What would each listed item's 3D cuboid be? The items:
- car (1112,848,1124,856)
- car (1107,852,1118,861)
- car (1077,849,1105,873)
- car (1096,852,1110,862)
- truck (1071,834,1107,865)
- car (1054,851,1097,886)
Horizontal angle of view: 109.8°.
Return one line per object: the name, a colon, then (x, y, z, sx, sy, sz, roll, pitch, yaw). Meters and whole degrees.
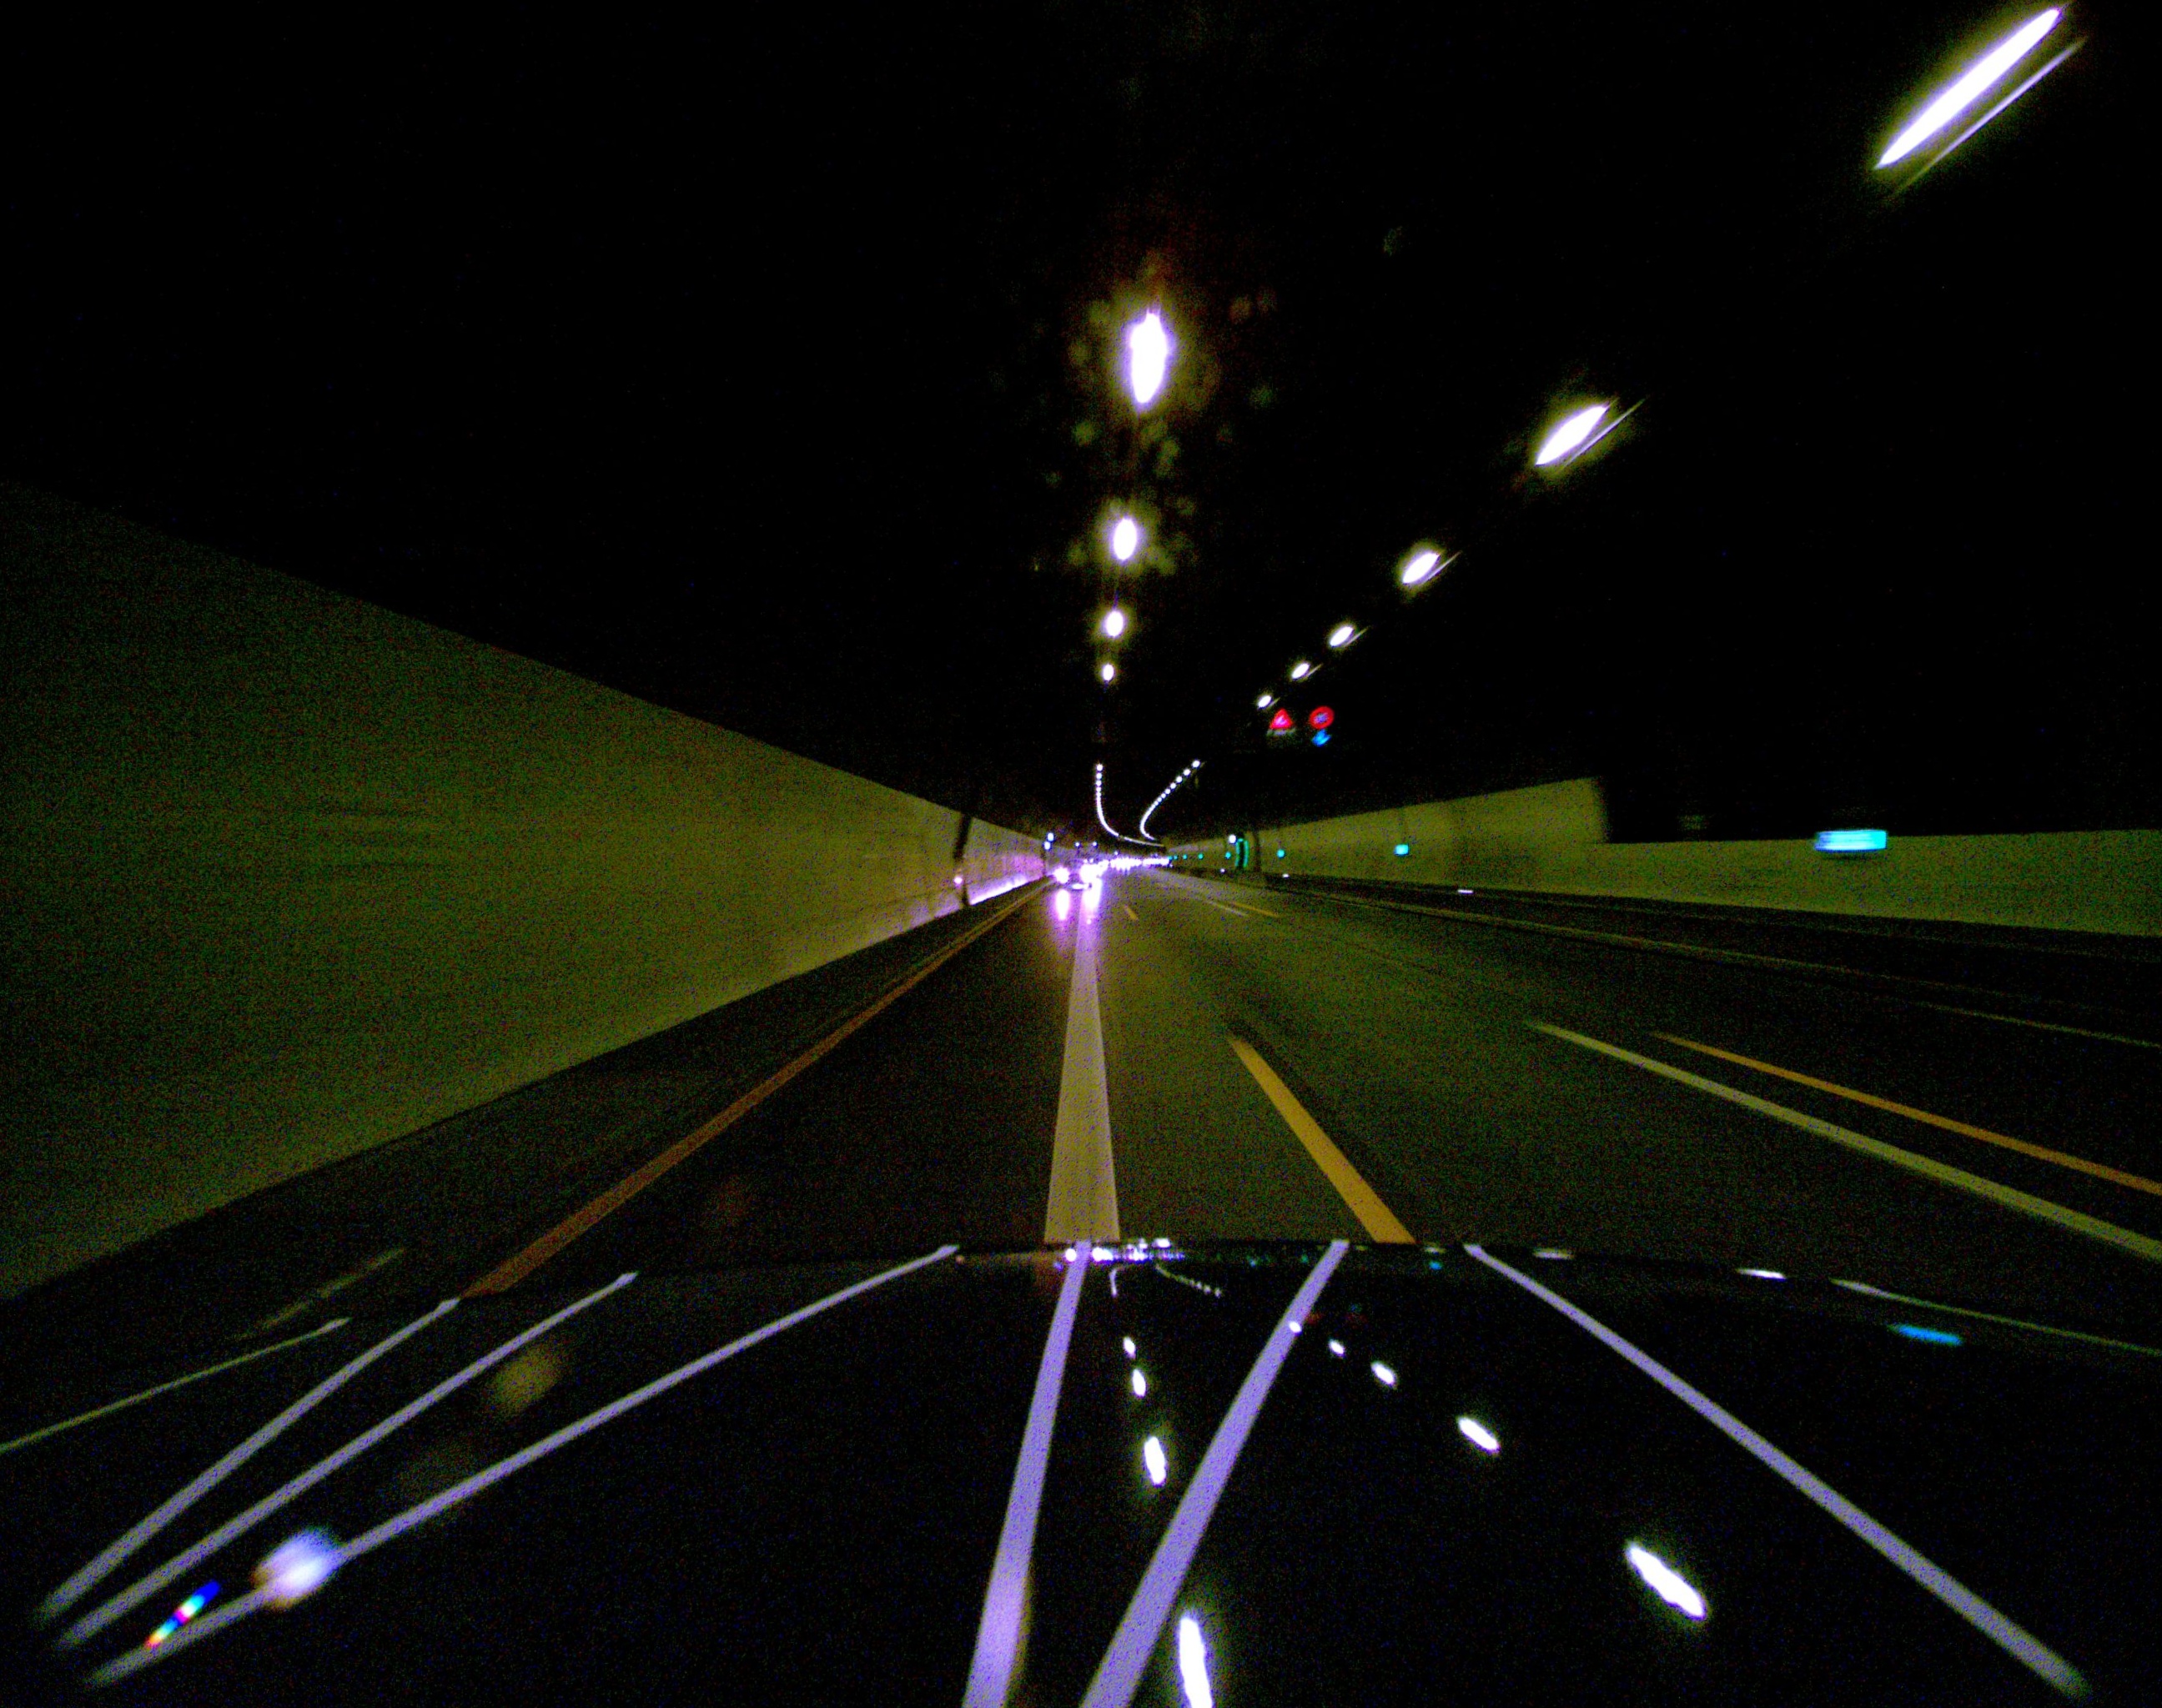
car: (9.185, -0.568, 189.889, 1.996, 1.917, 4.389, -2, 0, 14)
car: (7.242, 0.482, 172.721, 1.997, 1.892, 4.002, -2, 0, 8)
car: (0.808, 0.528, 59.092, 1.998, 1.655, 4.000, -3, 0, 1)
car: (4.220, 0.569, 144.582, 1.997, 1.892, 4.002, -2, 0, 8)
truck: (1.019, -0.495, 86.910, 2.987, 3.161, 10.513, -2, 0, 6)
car: (-0.232, 0.762, 41.236, 2.171, 1.709, 4.482, -2, 0, 1)
